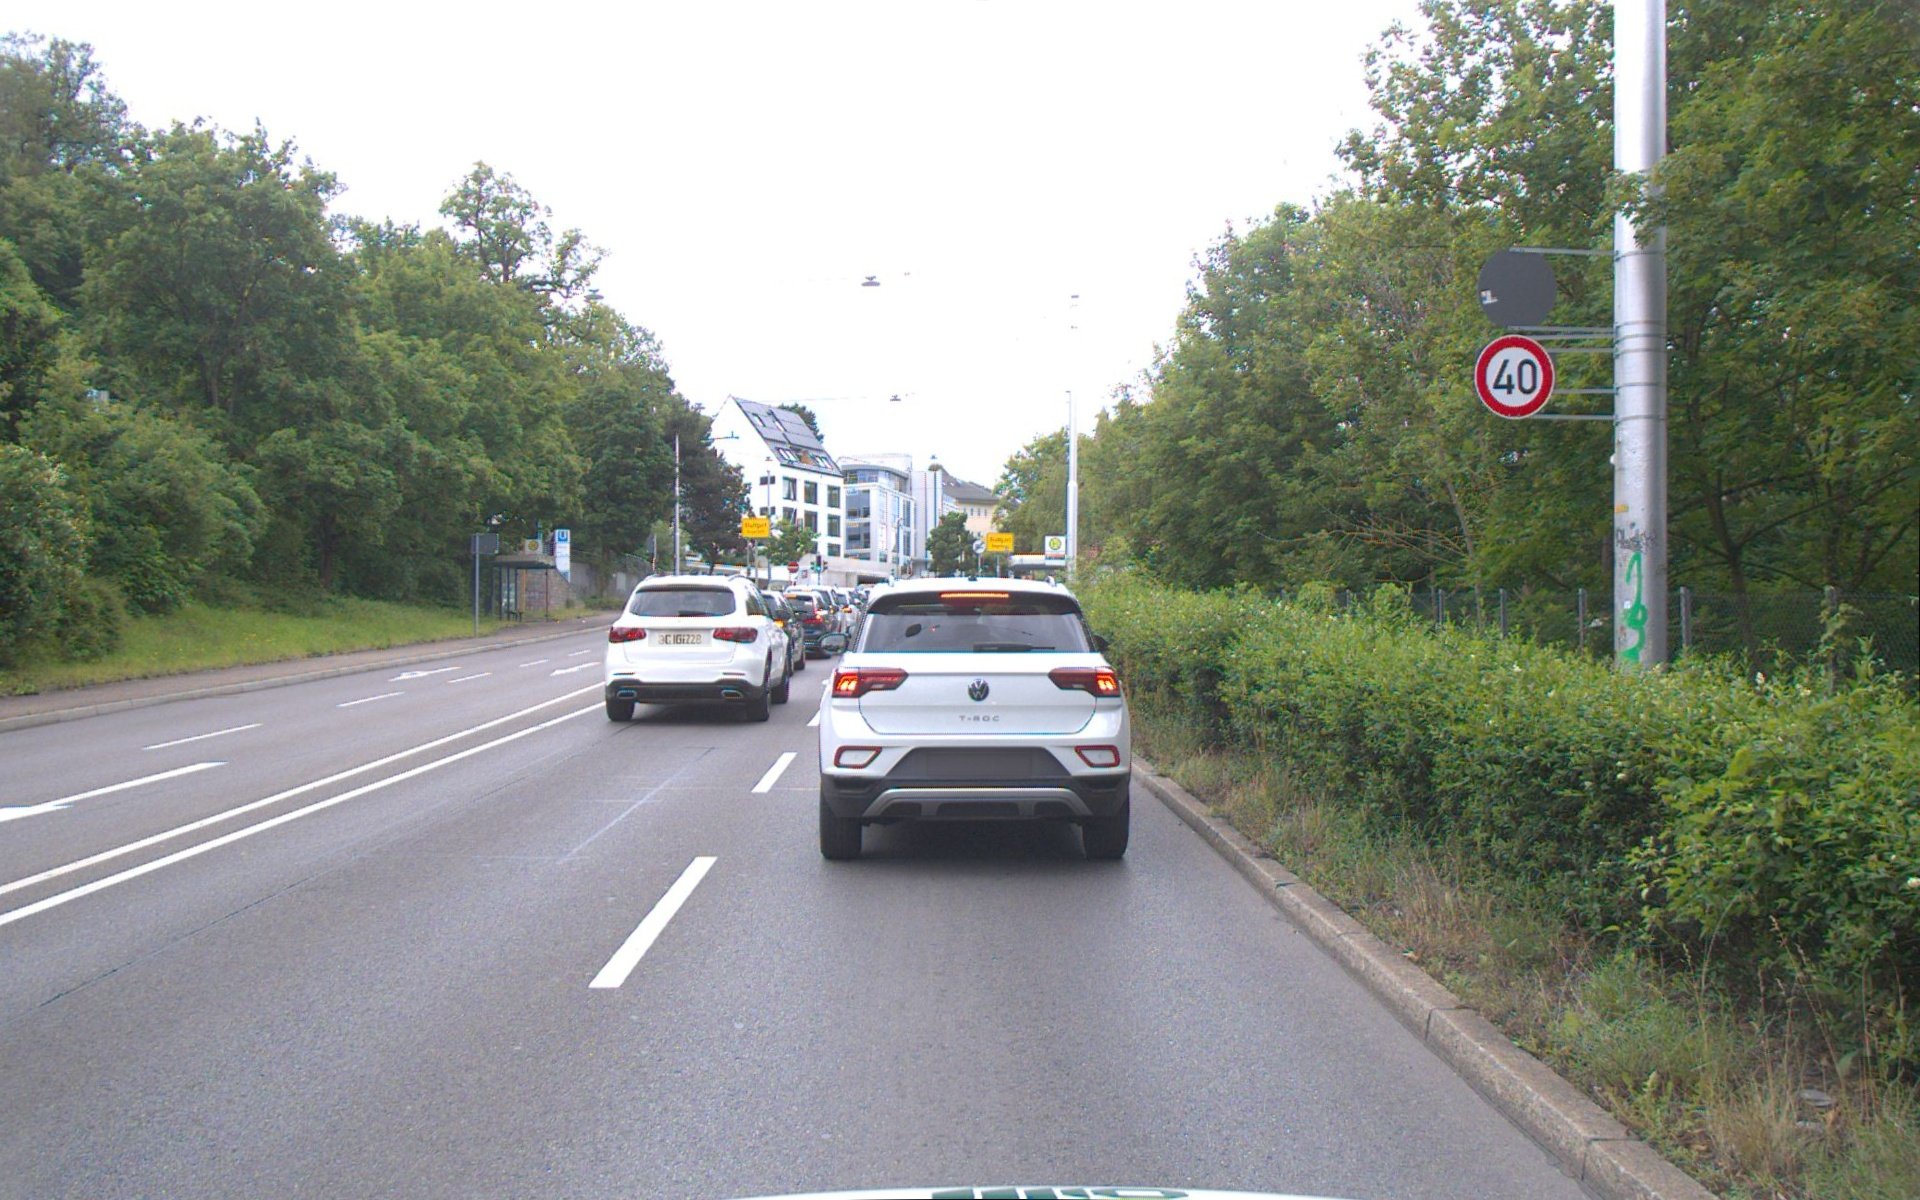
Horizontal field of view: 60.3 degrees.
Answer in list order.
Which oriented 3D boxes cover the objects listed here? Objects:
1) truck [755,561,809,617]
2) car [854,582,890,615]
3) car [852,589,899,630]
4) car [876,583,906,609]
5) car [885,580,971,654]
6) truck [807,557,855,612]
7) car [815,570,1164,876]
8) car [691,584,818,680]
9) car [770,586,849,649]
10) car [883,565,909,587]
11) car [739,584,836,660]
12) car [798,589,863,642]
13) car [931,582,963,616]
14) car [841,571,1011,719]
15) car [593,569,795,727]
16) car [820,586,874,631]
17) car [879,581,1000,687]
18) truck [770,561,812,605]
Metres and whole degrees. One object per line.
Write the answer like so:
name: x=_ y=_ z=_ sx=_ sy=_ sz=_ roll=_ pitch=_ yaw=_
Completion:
truck: x=-9.195 y=-0.595 z=85.801 sx=2.315 sy=2.753 sz=4.476 roll=-2 pitch=0 yaw=-2
car: x=-4.698 y=-0.115 z=88.744 sx=1.778 sy=1.685 sz=3.927 roll=-2 pitch=0 yaw=-2
car: x=-3.414 y=0.362 z=67.527 sx=1.792 sy=1.552 sz=3.999 roll=-1 pitch=0 yaw=-2
car: x=-4.332 y=-0.280 z=104.099 sx=1.792 sy=1.552 sz=3.999 roll=-1 pitch=0 yaw=-2
car: x=-0.737 y=0.350 z=37.305 sx=1.792 sy=1.552 sz=3.999 roll=-1 pitch=0 yaw=-2
truck: x=-7.013 y=-0.836 z=90.438 sx=2.315 sy=2.830 sz=4.476 roll=-2 pitch=0 yaw=-2
car: x=0.104 y=0.618 z=10.521 sx=1.792 sy=1.552 sz=3.999 roll=0 pitch=0 yaw=-2
car: x=-3.502 y=0.513 z=28.863 sx=1.792 sy=1.523 sz=3.999 roll=-1 pitch=0 yaw=-2
car: x=-3.960 y=0.434 z=44.032 sx=1.792 sy=1.552 sz=3.999 roll=-1 pitch=0 yaw=-2
car: x=-4.703 y=-1.749 z=122.094 sx=1.792 sy=1.552 sz=3.999 roll=-1 pitch=0 yaw=-2
car: x=-3.764 y=0.453 z=36.686 sx=1.792 sy=1.552 sz=3.999 roll=-1 pitch=0 yaw=-2
car: x=-3.988 y=0.442 z=51.364 sx=1.792 sy=1.552 sz=3.999 roll=-1 pitch=0 yaw=-2
car: x=-0.848 y=-0.069 z=104.801 sx=1.953 sy=2.049 sz=3.999 roll=-1 pitch=0 yaw=-1
car: x=-0.414 y=0.465 z=19.750 sx=1.792 sy=1.552 sz=3.999 roll=-1 pitch=0 yaw=-2
car: x=-3.075 y=0.507 z=19.913 sx=1.879 sy=1.698 sz=3.999 roll=0 pitch=0 yaw=-2
car: x=-4.098 y=0.291 z=60.537 sx=1.792 sy=1.552 sz=3.999 roll=-1 pitch=0 yaw=-2
car: x=-0.357 y=0.498 z=26.936 sx=1.792 sy=1.552 sz=3.999 roll=-1 pitch=0 yaw=-2
truck: x=-12.603 y=-1.244 z=123.671 sx=2.246 sy=3.104 sz=6.980 roll=-1 pitch=0 yaw=1
